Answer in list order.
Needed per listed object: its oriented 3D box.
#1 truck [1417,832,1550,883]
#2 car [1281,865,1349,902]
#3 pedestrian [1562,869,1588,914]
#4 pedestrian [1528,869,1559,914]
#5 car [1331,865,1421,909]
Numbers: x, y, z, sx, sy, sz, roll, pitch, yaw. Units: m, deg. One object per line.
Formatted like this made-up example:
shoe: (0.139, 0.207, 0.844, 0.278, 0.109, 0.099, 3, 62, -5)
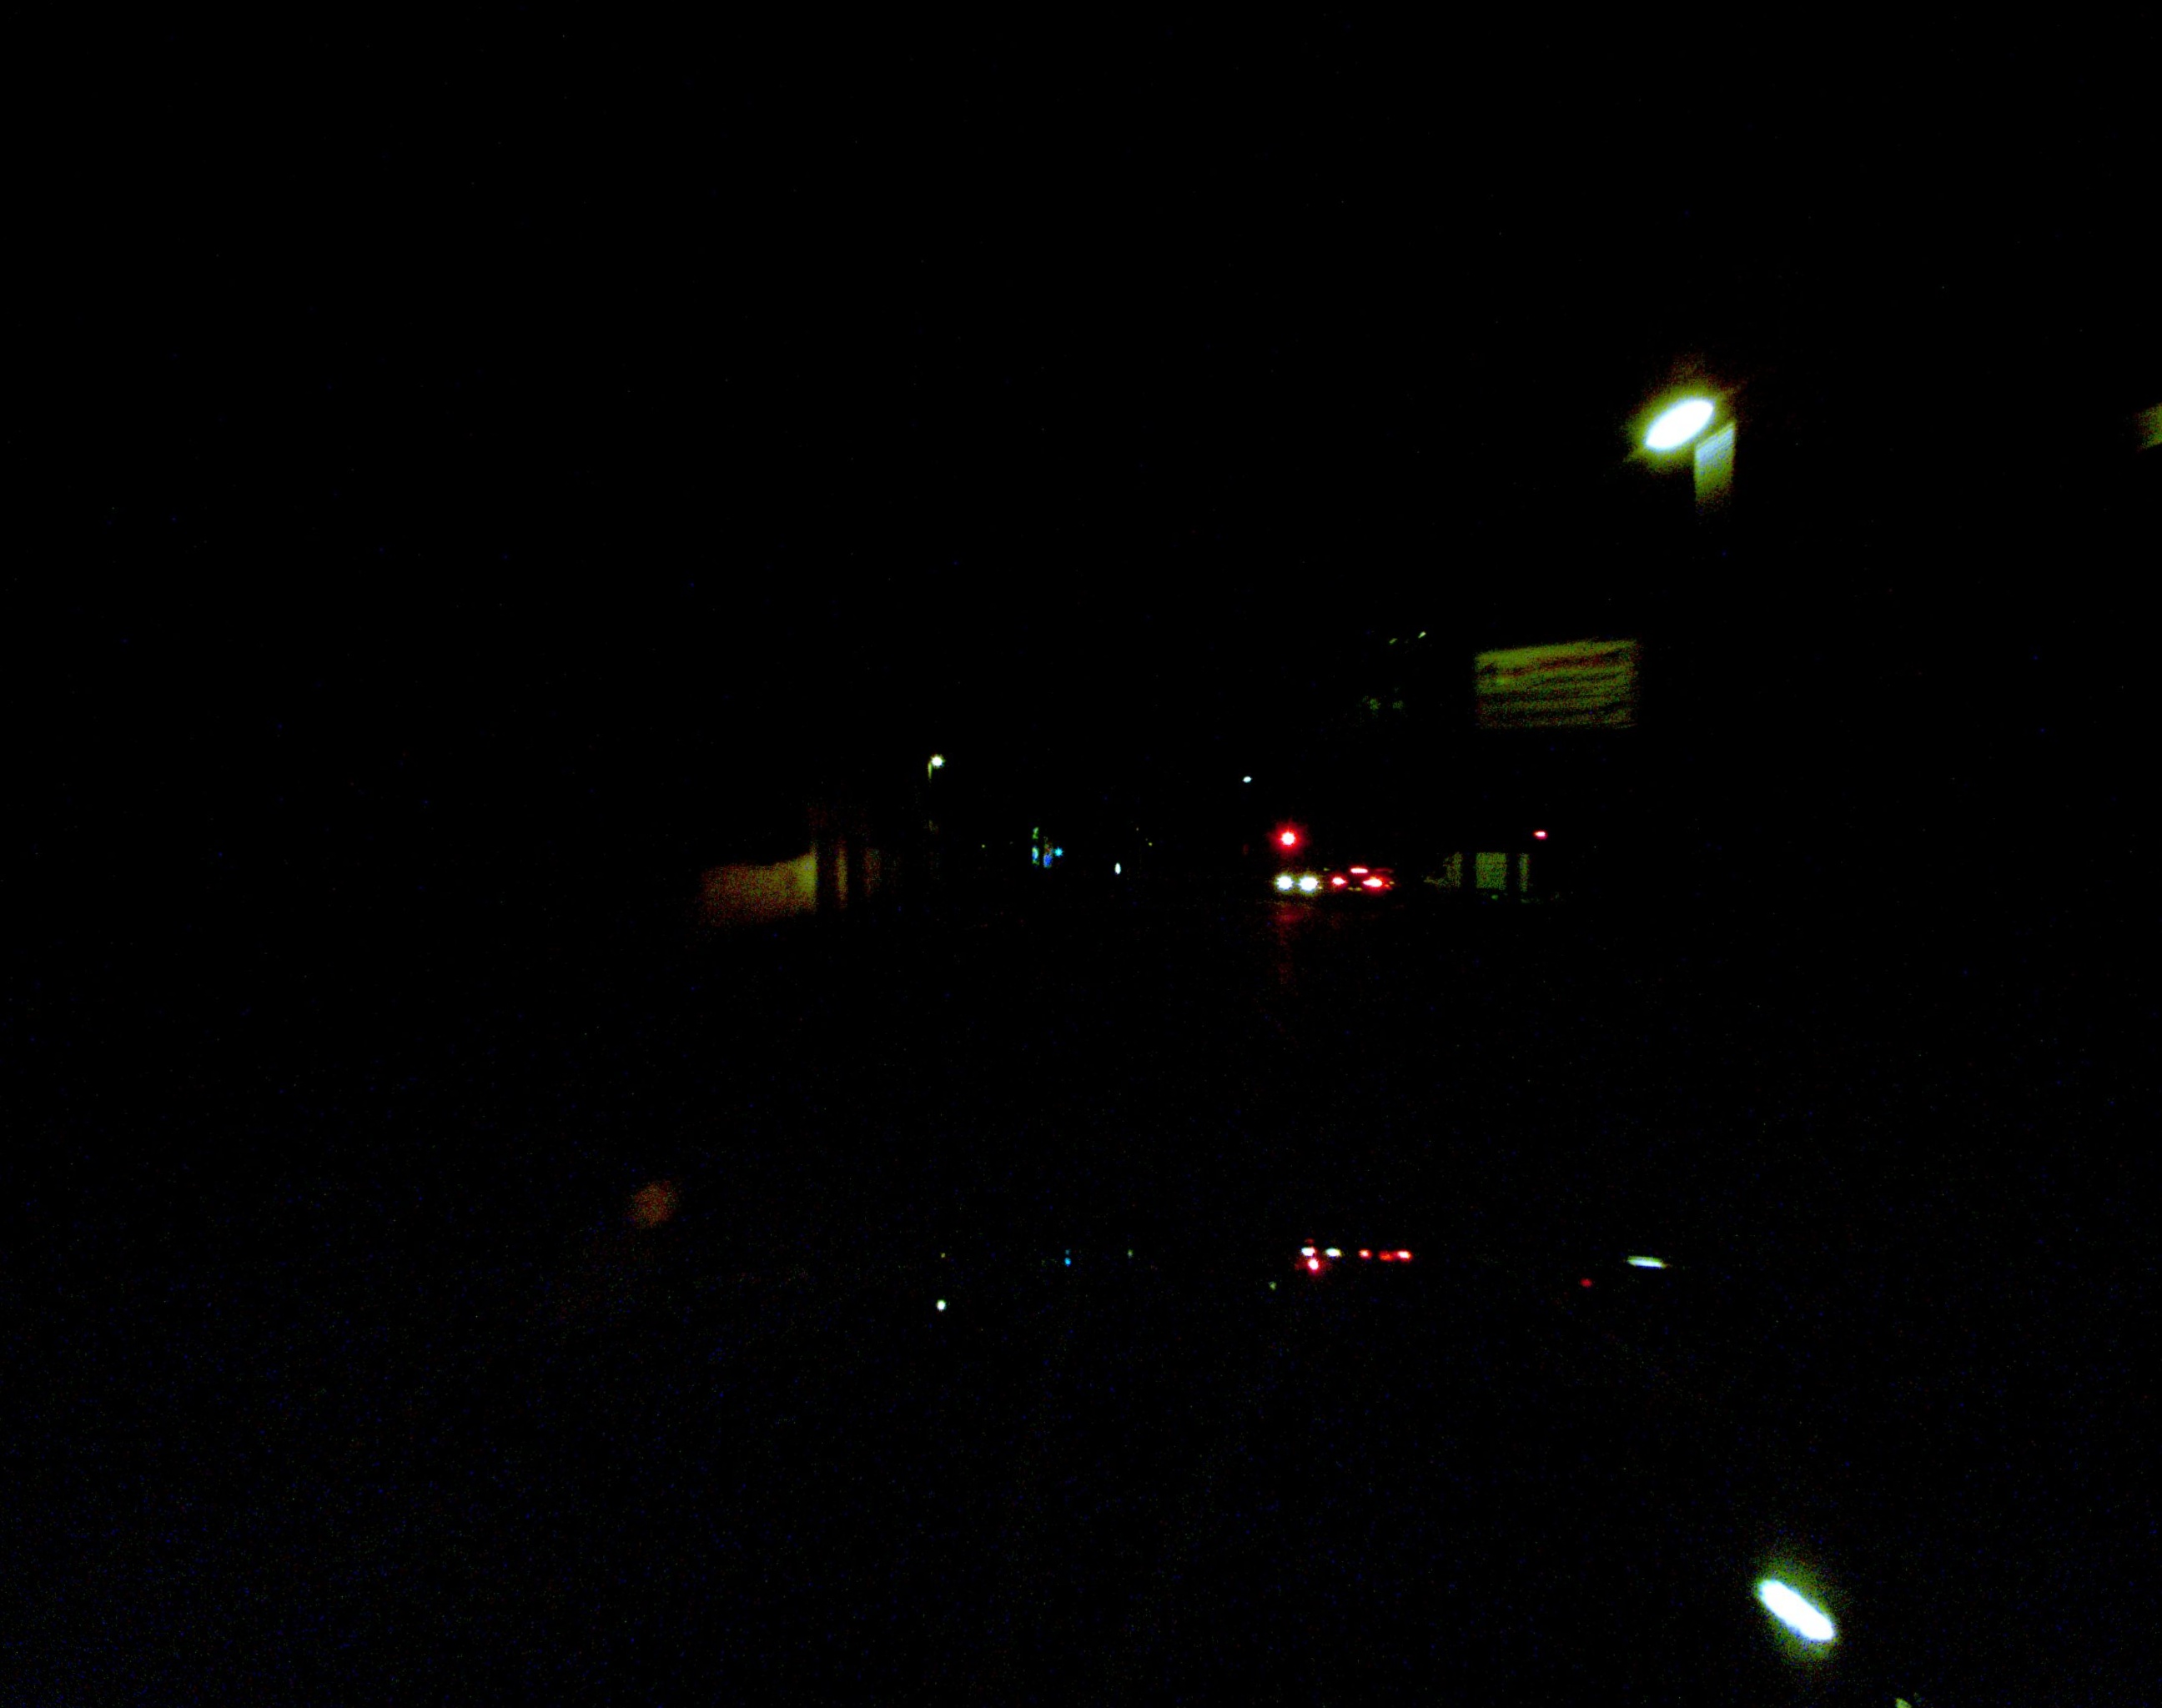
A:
truck: (25.659, 0.132, 48.754, 2.778, 3.028, 7.015, -3, 3, -42)
car: (10.057, 1.253, 32.600, 1.509, 1.492, 3.057, 1, -1, 44)
pedestrian: (19.708, 1.486, 30.305, 0.693, 1.781, 0.522, 2, 0, -24)
pedestrian: (18.536, 1.485, 30.466, 0.967, 1.759, 0.727, 2, 0, -38)
car: (10.720, 1.214, 27.456, 1.726, 1.421, 4.301, 0, -3, 40)
